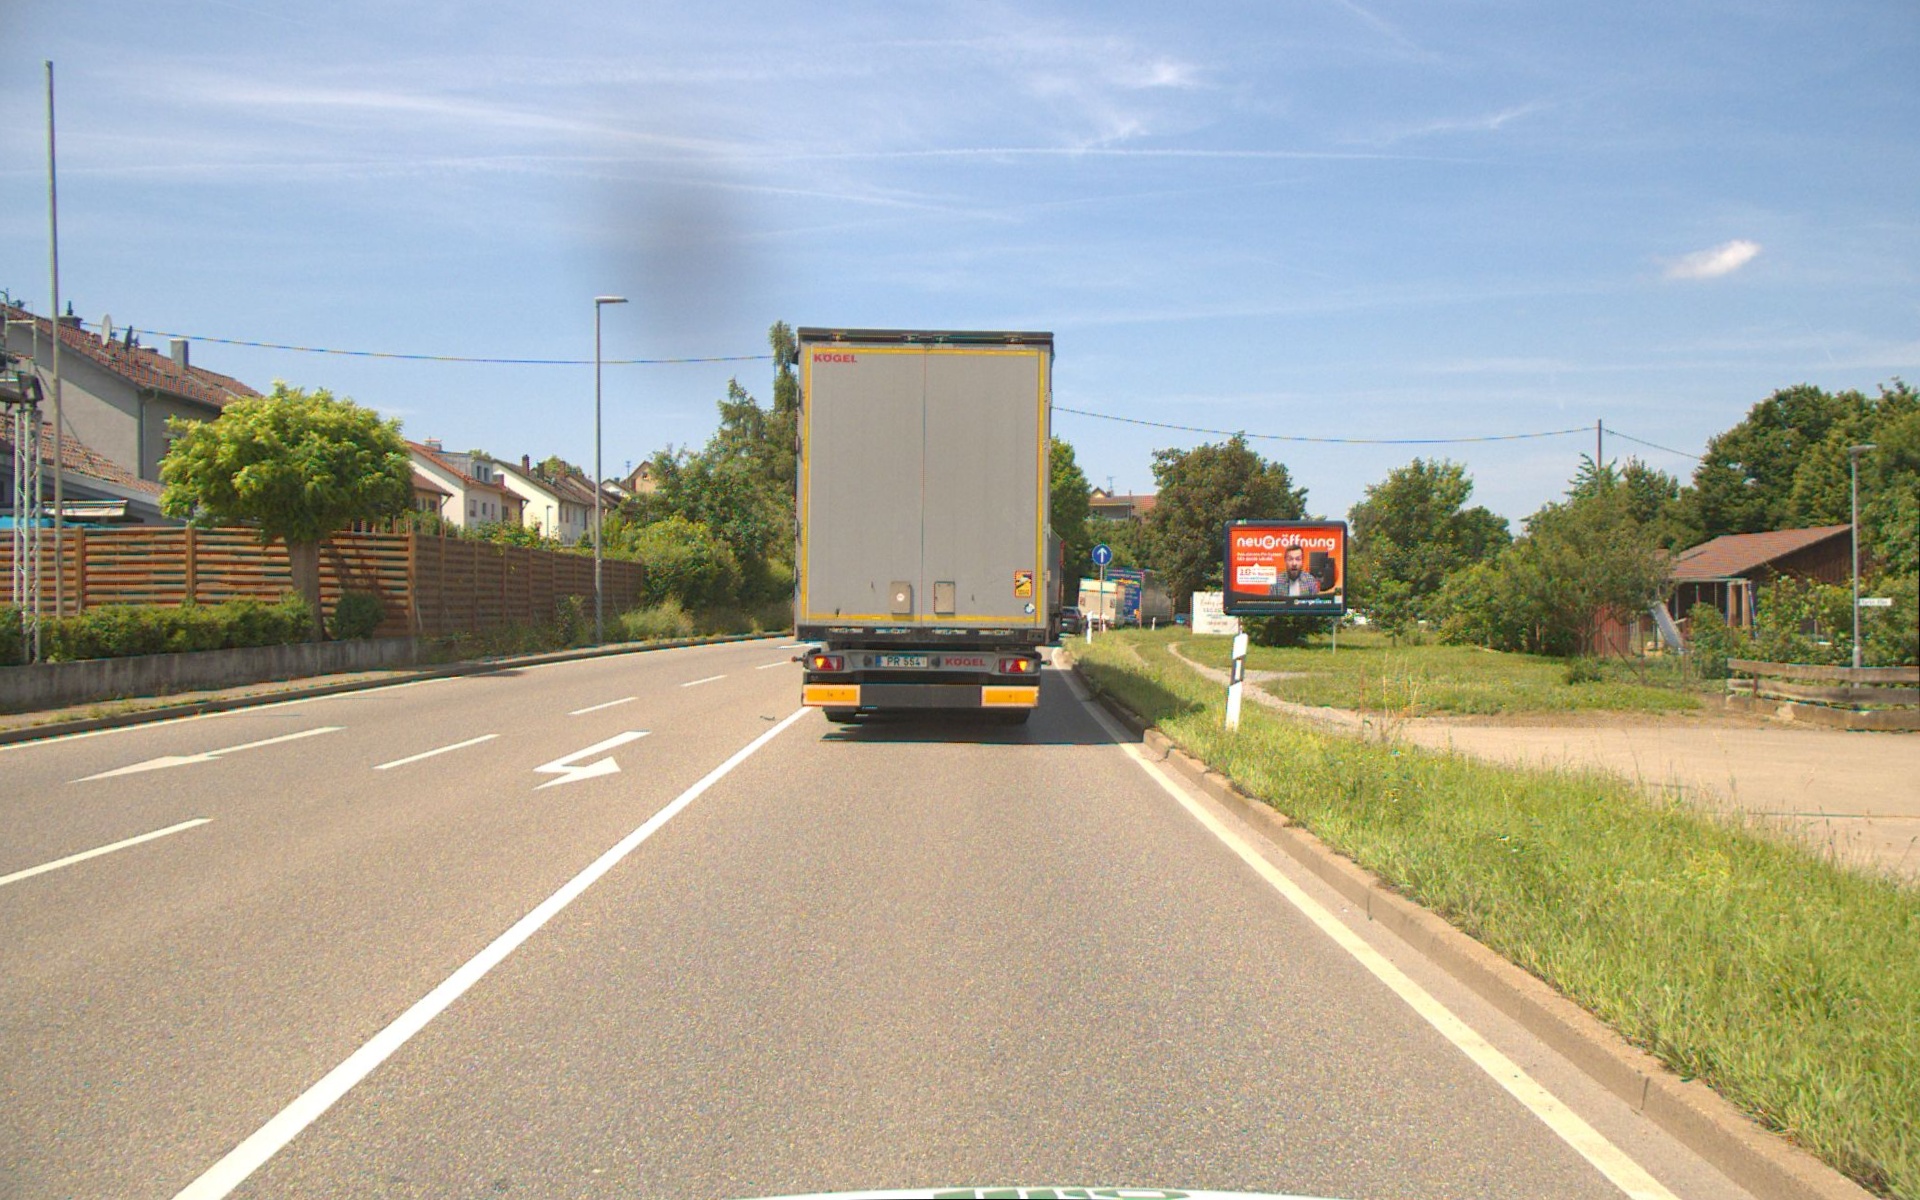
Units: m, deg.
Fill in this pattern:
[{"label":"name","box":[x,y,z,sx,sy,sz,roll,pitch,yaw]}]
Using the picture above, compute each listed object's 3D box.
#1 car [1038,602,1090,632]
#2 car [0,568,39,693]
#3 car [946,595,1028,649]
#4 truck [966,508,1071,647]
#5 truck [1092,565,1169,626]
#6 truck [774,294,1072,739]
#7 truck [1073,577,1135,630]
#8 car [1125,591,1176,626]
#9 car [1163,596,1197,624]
[{"label":"car","box":[5.113,0.838,81.176,1.951,1.400,4.003,1,-1,12]},{"label":"car","box":[-13.401,0.310,19.931,4.242,1.473,1.856,1,-1,25]},{"label":"car","box":[0.793,0.610,45.657,1.780,1.370,3.850,1,-1,8]},{"label":"truck","box":[2.406,-0.604,60.569,2.702,4.364,16.425,1,-1,6]},{"label":"truck","box":[10.985,-0.303,105.383,3.360,3.667,9.360,1,1,15]},{"label":"truck","box":[-0.446,-0.803,21.590,2.765,4.200,11.441,1,0,-1]},{"label":"truck","box":[8.177,0.236,93.482,2.489,2.852,6.036,1,-1,14]},{"label":"car","box":[13.157,0.569,113.934,2.478,2.317,6.385,1,0,16]},{"label":"car","box":[16.869,0.766,126.611,1.951,2.049,4.002,1,-1,16]}]
